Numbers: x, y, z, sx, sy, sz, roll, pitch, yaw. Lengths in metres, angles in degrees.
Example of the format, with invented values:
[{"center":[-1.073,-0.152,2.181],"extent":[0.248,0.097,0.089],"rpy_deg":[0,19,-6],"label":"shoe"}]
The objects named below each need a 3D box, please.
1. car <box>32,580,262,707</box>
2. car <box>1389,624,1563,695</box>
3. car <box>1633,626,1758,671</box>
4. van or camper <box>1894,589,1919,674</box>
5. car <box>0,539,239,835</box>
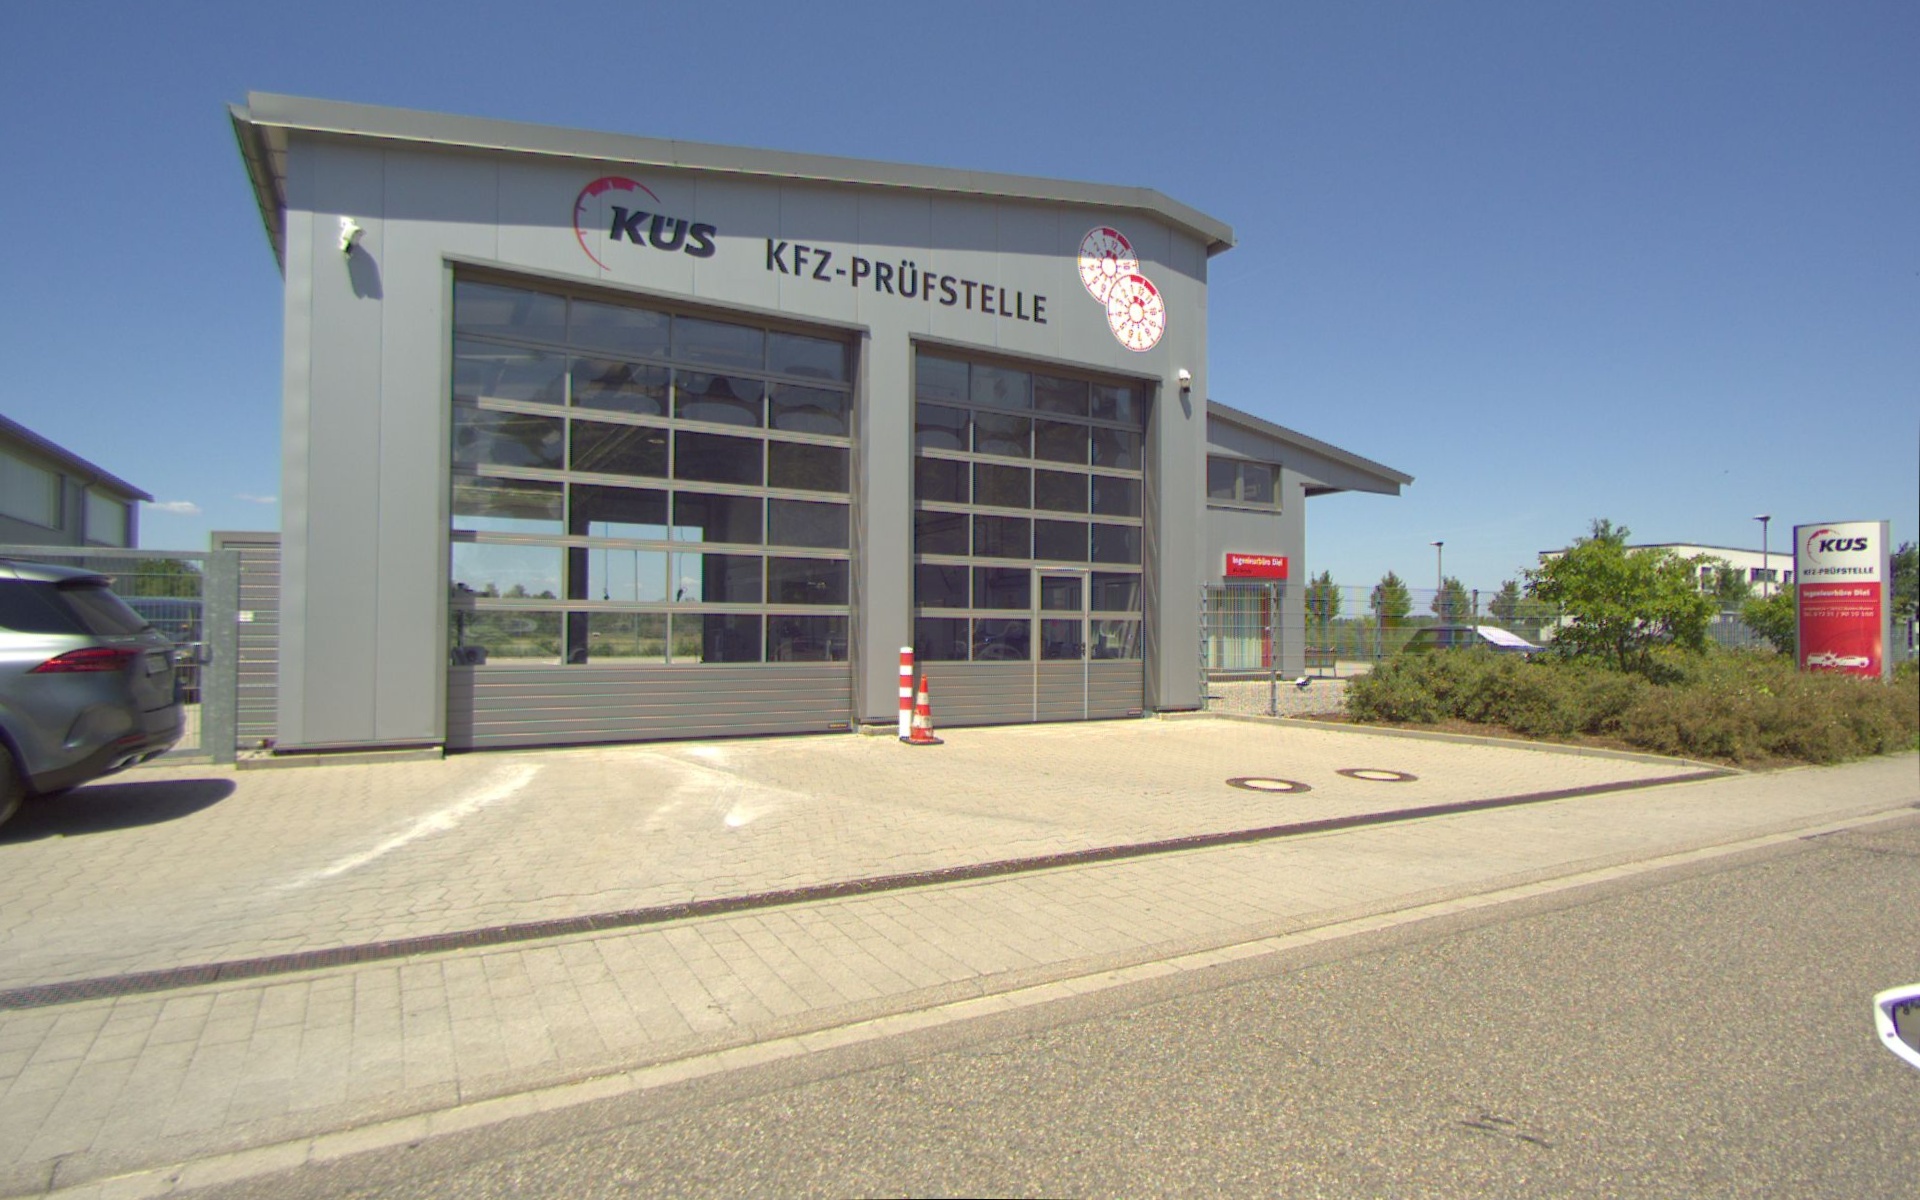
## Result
[{"center":[-13.080,0.597,16.532],"extent":[1.975,1.758,4.878],"rpy_deg":[0,0,-27],"label":"car"},{"center":[12.476,1.394,24.456],"extent":[1.542,1.572,3.479],"rpy_deg":[2,-2,-34],"label":"car"},{"center":[31.762,2.054,43.467],"extent":[1.894,1.839,3.968],"rpy_deg":[1,-2,-30],"label":"car"},{"center":[37.575,1.087,34.682],"extent":[2.757,3.077,7.350],"rpy_deg":[1,-2,-30],"label":"van or camper"},{"center":[-7.570,0.501,6.141],"extent":[4.848,1.758,1.987],"rpy_deg":[1,0,-27],"label":"car"}]
